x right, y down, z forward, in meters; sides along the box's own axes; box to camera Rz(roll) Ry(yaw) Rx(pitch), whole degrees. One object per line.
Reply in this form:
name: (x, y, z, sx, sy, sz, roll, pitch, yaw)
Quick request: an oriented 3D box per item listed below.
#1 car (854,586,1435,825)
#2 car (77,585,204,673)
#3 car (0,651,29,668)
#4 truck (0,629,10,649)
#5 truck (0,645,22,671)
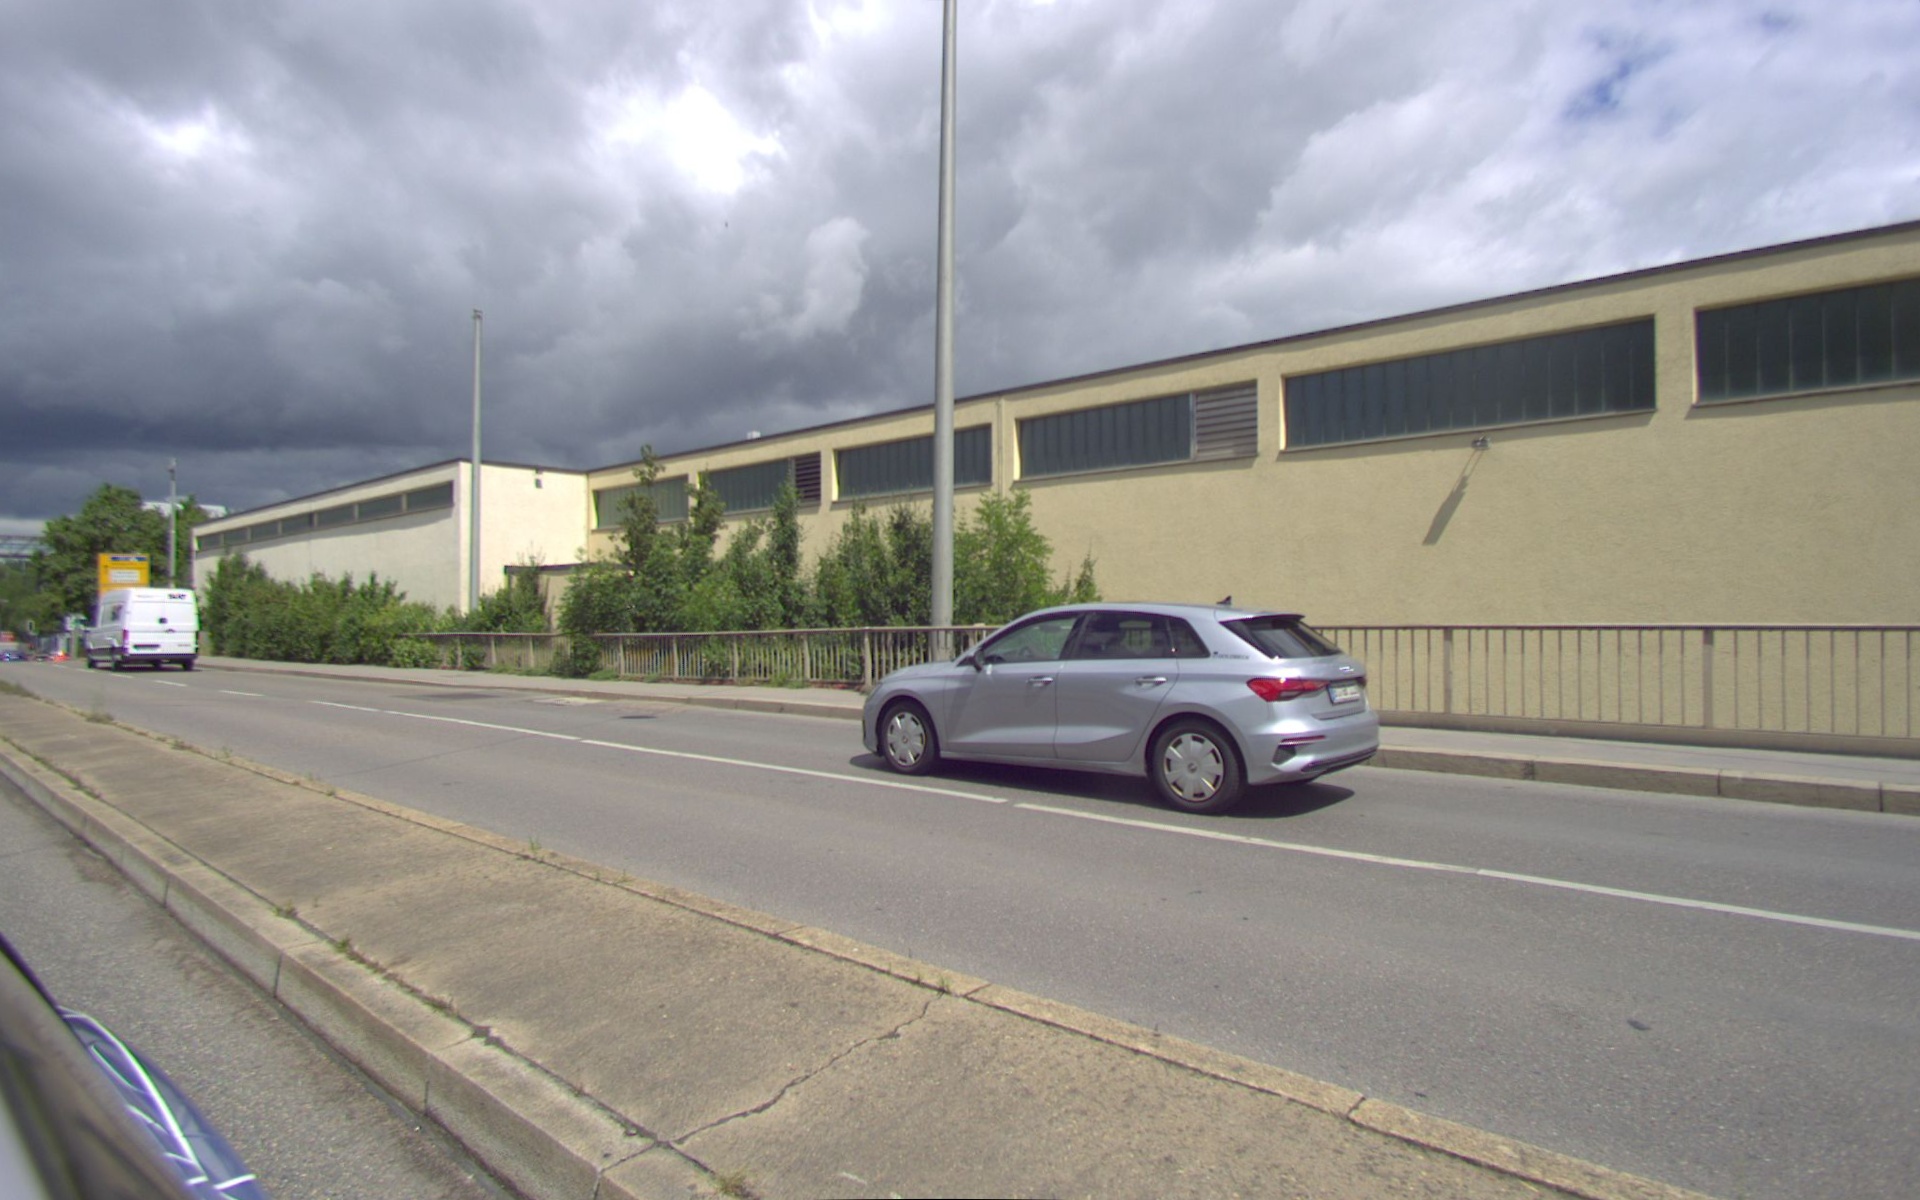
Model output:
car: (1.201, 0.657, 7.832, 4.192, 1.374, 1.620, -2, -2, 41)
car: (-26.712, 0.942, 32.857, 6.818, 2.591, 2.045, -2, -3, 41)
car: (-73.420, 4.592, 78.384, 1.734, 1.285, 4.003, 4, -4, -44)
truck: (-184.625, 7.616, 191.955, 8.909, 3.595, 2.349, -4, -2, 16)
truck: (-122.138, 7.463, 129.385, 2.820, 2.879, 9.389, 0, -5, -41)
